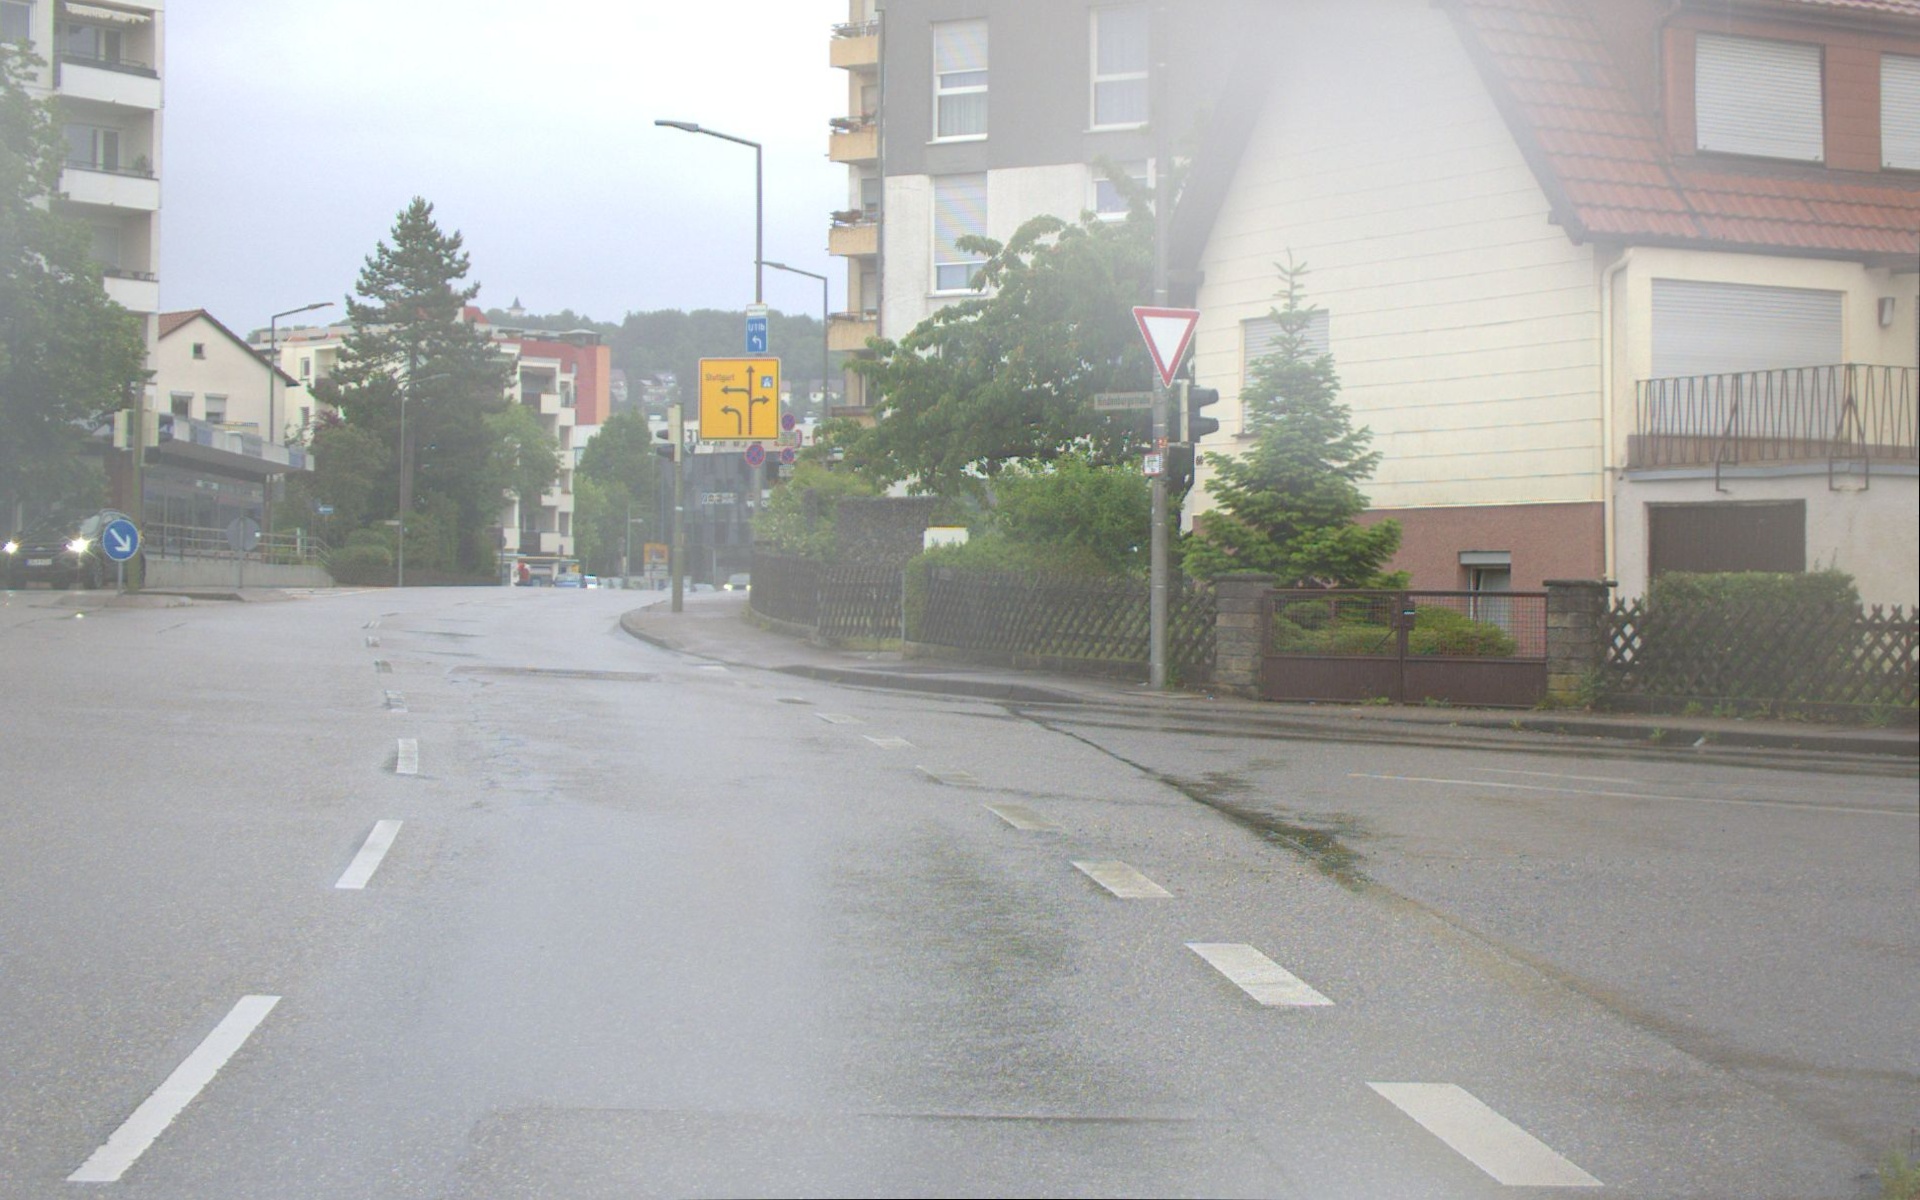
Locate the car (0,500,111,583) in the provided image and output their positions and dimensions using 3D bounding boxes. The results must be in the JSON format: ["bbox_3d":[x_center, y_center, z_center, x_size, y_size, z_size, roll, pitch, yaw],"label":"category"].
[{"bbox_3d":[-18.533,-1.172,69.421,1.879,1.592,4.185,1,1,-2],"label":"car"}]
